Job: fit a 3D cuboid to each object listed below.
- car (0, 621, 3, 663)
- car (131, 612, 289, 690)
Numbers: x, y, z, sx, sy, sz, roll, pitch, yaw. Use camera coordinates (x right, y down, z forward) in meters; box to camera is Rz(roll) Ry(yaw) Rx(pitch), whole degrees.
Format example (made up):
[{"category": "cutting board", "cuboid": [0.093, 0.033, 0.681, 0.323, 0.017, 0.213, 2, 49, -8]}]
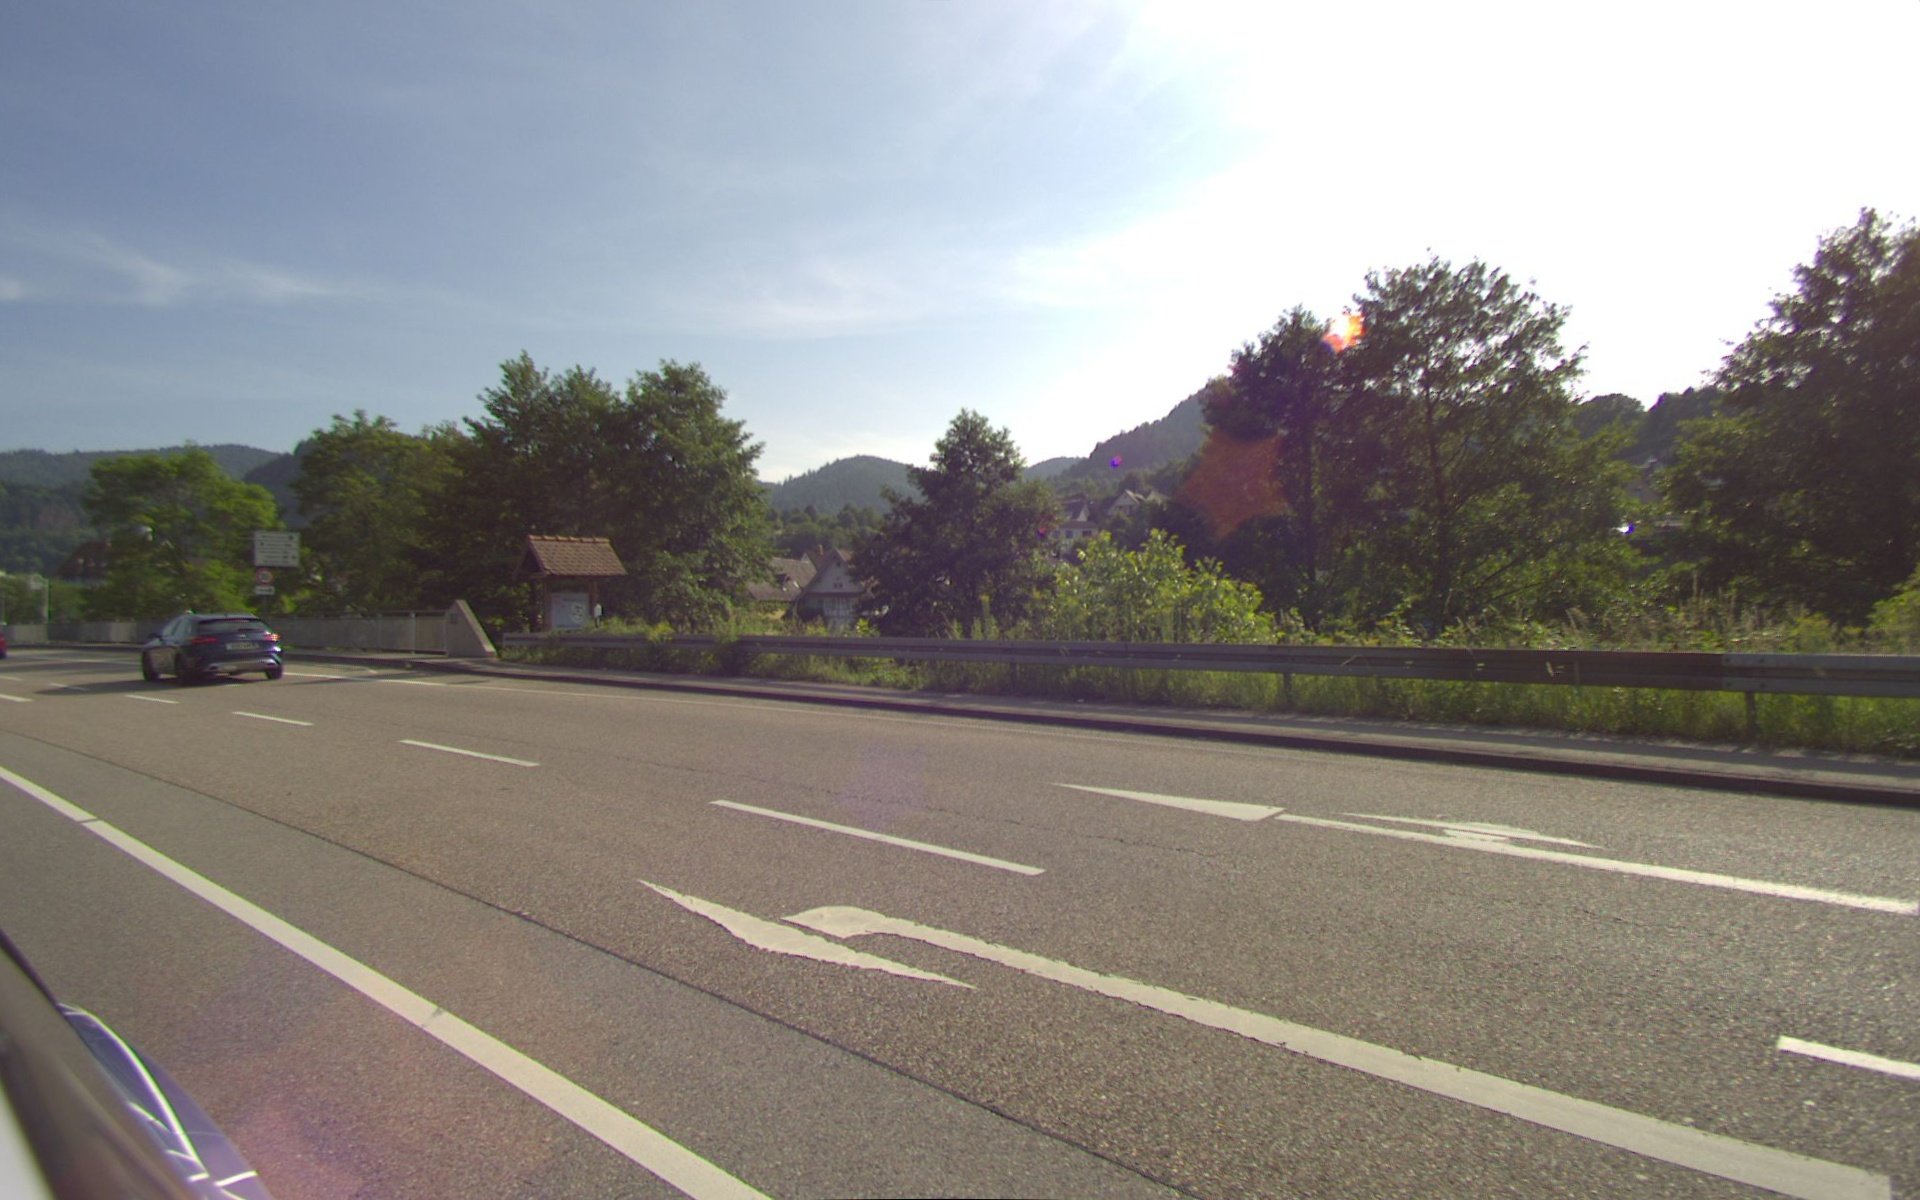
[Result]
[{"category": "car", "cuboid": [-36.010, 1.534, 36.334, 4.194, 1.471, 1.660, -2, 0, 36]}, {"category": "car", "cuboid": [-16.537, 1.078, 22.228, 4.540, 1.480, 1.832, -2, 0, 41]}]
